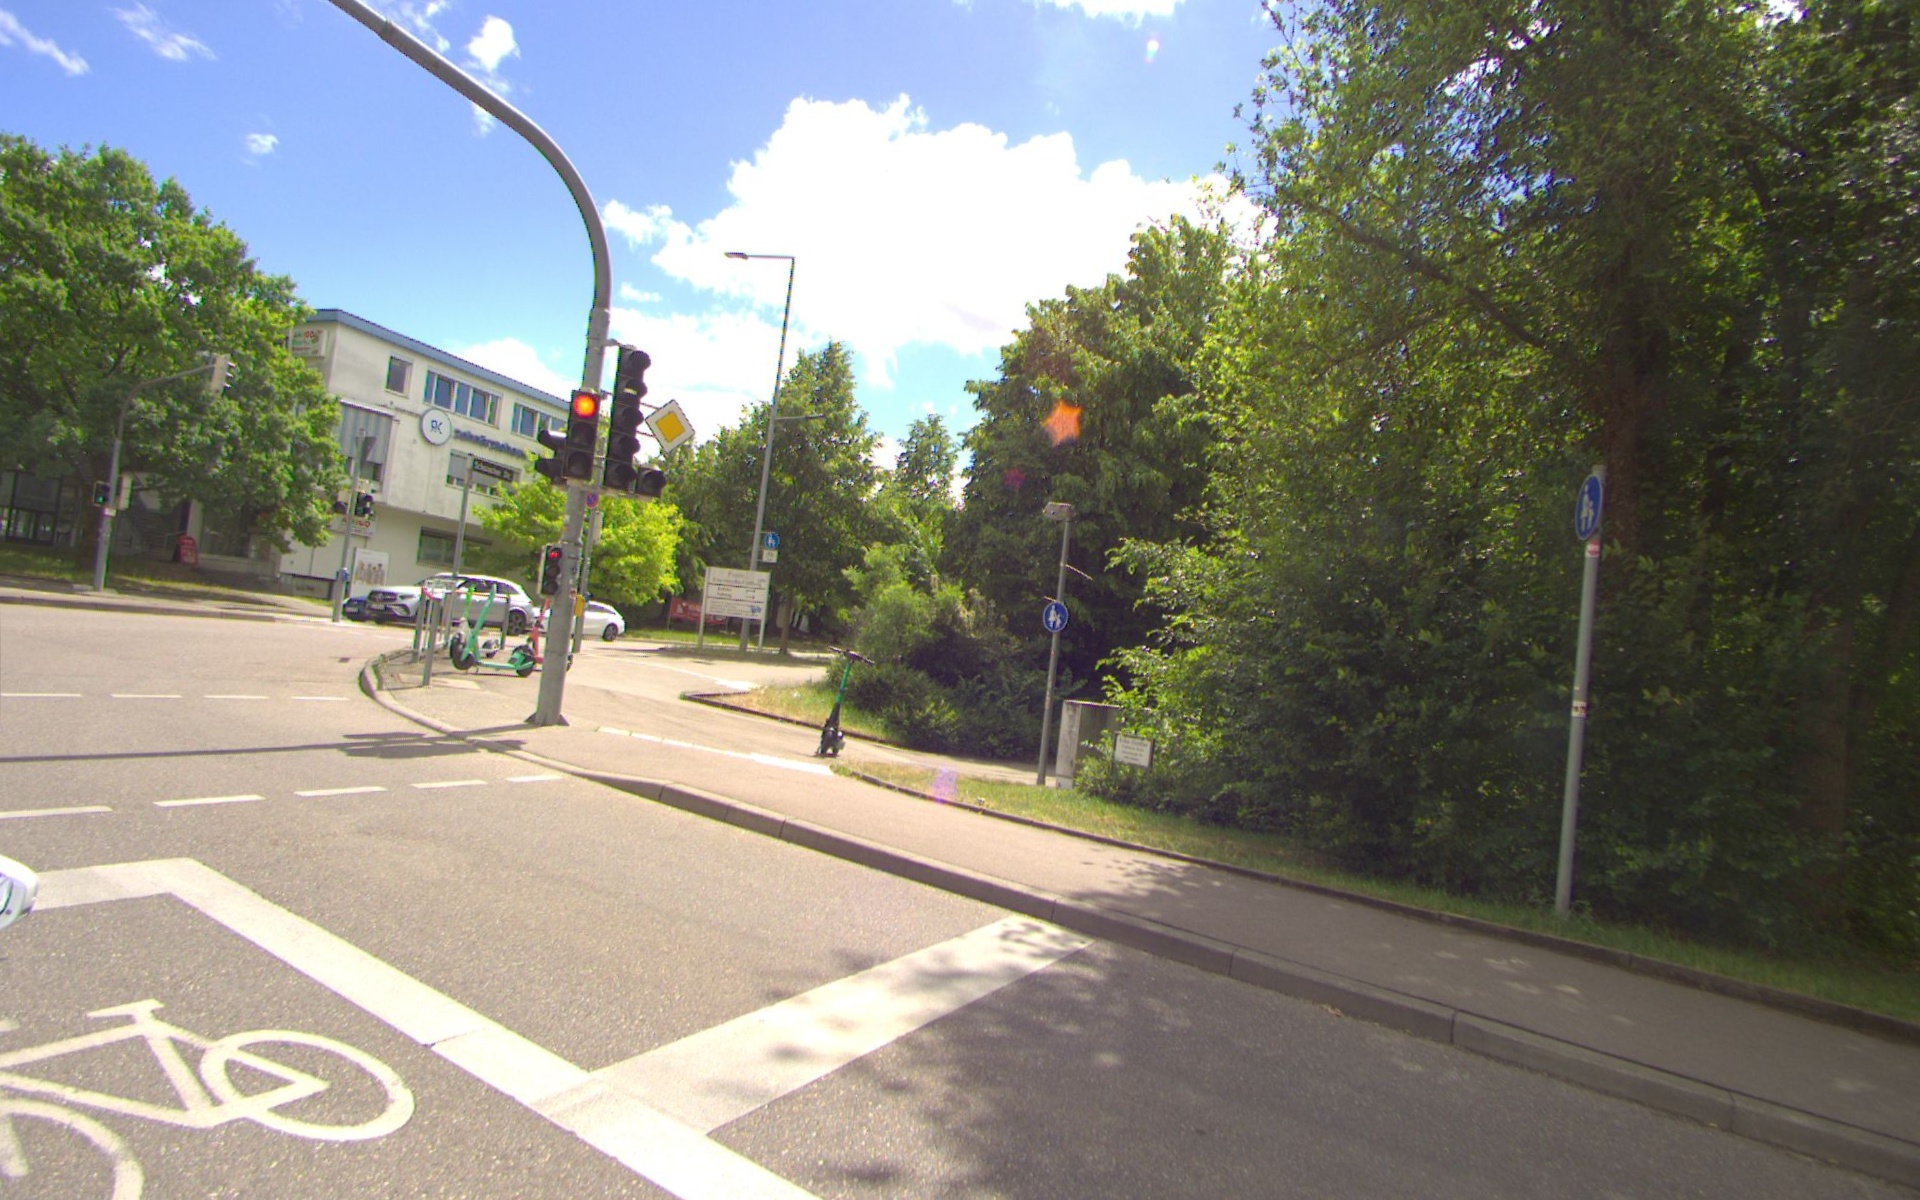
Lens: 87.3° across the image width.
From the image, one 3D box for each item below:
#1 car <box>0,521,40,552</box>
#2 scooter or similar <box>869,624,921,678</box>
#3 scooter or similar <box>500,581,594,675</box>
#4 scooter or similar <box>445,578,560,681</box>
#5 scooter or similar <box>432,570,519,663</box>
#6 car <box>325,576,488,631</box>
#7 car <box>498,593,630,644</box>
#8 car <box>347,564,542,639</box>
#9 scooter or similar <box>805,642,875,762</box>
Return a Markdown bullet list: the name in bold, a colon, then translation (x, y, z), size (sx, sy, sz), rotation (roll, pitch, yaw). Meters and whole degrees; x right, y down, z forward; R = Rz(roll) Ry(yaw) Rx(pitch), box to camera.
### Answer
- **car**: translation (-54.435, -3.722, 57.292), size (3.931, 1.487, 1.748), rotation (6, -2, 29)
- **scooter or similar**: translation (-1.572, 1.248, 24.529), size (0.515, 1.196, 1.173), rotation (6, -2, 35)
- **scooter or similar**: translation (-5.948, 0.433, 14.547), size (0.471, 1.249, 1.186), rotation (7, -2, 18)
- **scooter or similar**: translation (-5.894, 0.400, 13.013), size (0.442, 1.209, 1.169), rotation (6, -2, 35)
- **scooter or similar**: translation (-7.027, 0.261, 14.641), size (0.470, 1.249, 1.212), rotation (7, -1, 3)
- **car**: translation (-16.758, 0.154, 30.679), size (1.879, 1.239, 3.973), rotation (4, -3, 23)
- **car**: translation (-14.356, 0.730, 36.755), size (1.916, 1.430, 4.407), rotation (4, -3, 21)
- **car**: translation (-14.322, 0.100, 28.281), size (1.889, 1.609, 4.658), rotation (4, -3, 23)
- **scooter or similar**: translation (-1.438, 1.231, 12.229), size (0.526, 1.304, 1.213), rotation (11, -5, -2)
